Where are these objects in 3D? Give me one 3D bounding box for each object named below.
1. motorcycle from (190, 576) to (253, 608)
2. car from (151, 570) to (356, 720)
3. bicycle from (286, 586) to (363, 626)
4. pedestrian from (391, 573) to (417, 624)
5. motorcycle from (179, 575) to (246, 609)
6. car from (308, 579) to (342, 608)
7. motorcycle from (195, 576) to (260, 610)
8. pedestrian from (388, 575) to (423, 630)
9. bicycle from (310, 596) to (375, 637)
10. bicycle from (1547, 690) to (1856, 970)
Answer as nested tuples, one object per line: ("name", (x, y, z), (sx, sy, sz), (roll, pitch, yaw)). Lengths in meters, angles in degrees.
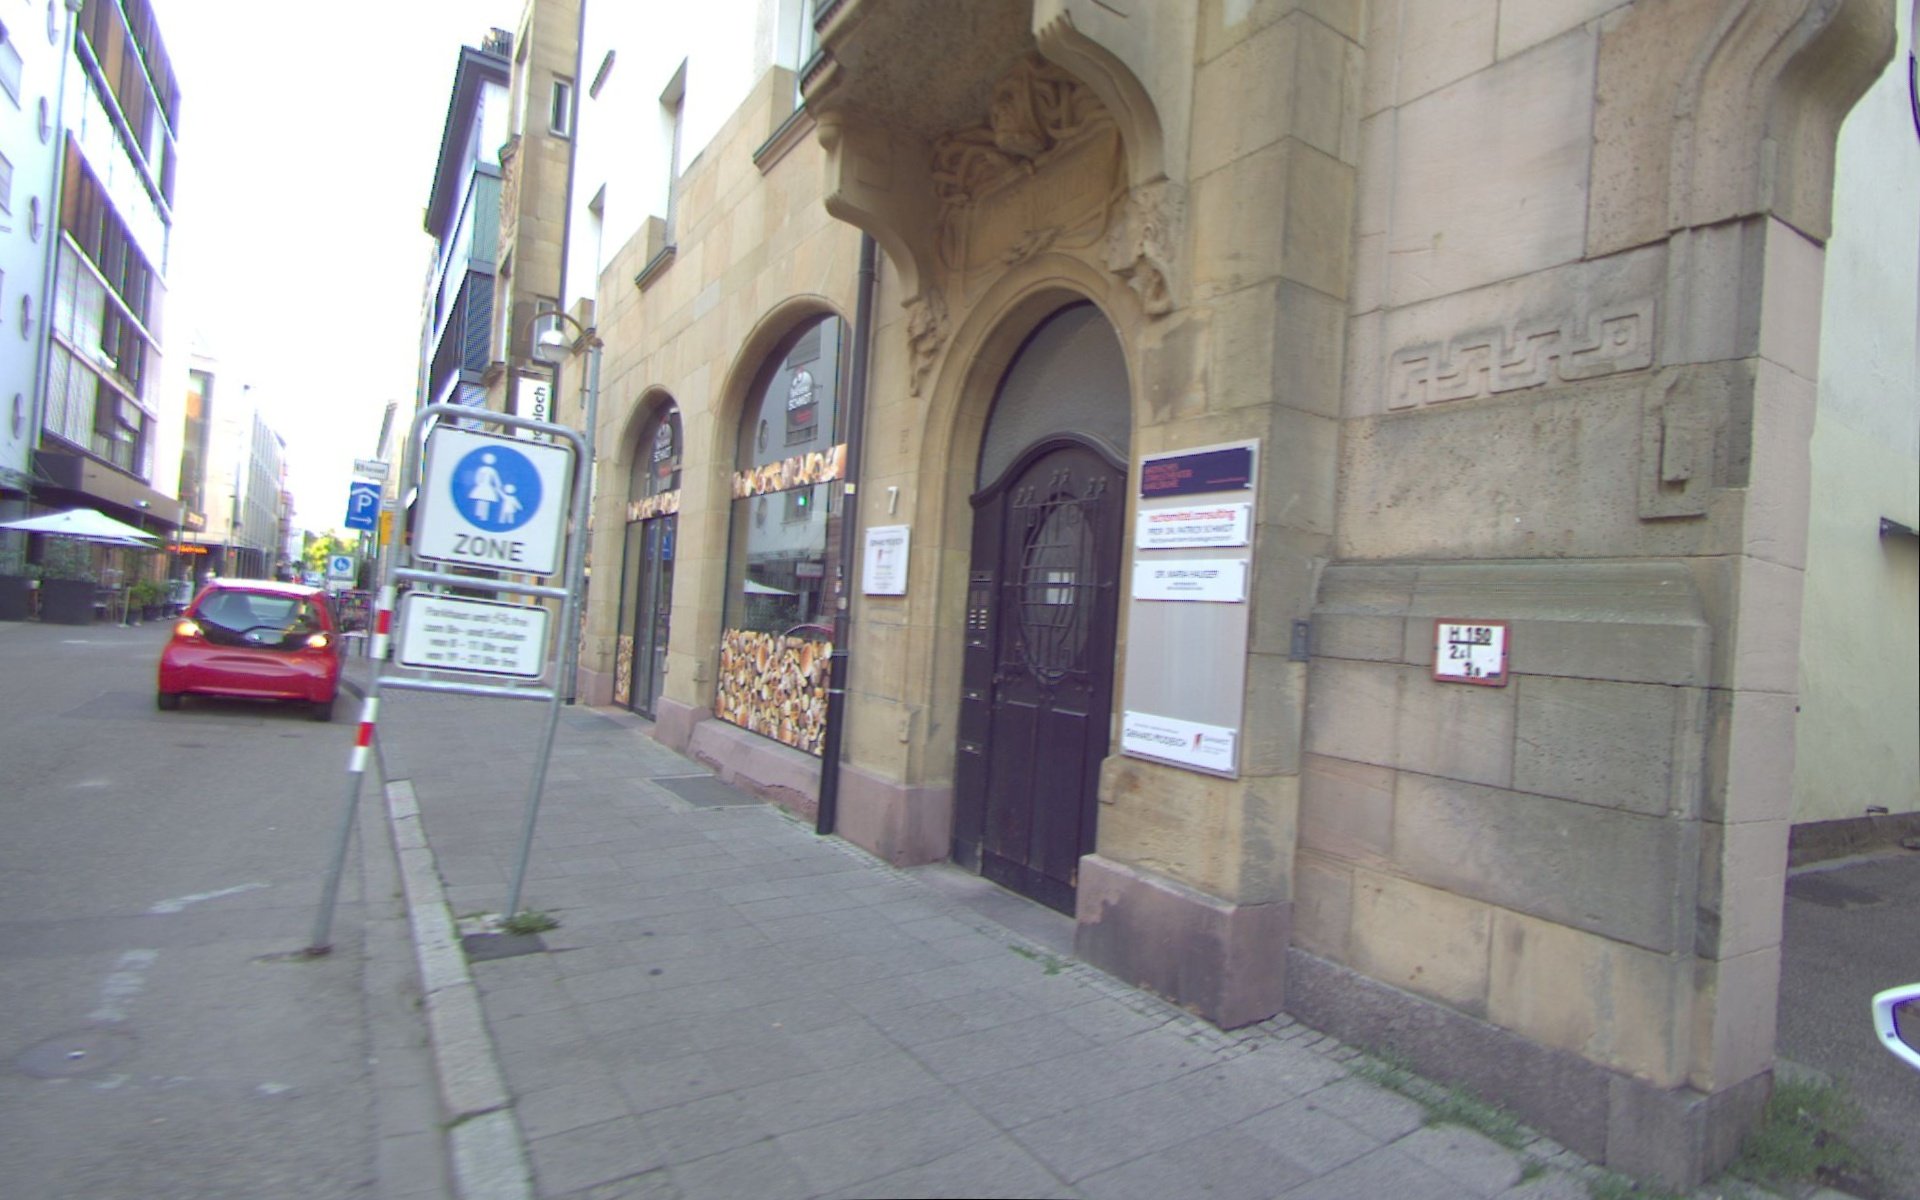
("motorcycle", (-33.832, -0.348, 46.031), (2.169, 1.299, 0.646), (5, -1, -30))
("car", (-8.306, 0.491, 12.071), (1.621, 1.459, 3.130), (7, -3, -31))
("bicycle", (-19.391, 0.200, 30.686), (1.932, 1.145, 0.615), (3, 0, -31))
("pedestrian", (-18.991, -0.046, 34.290), (0.663, 1.693, 0.757), (4, -1, -30))
("motorcycle", (-32.518, -0.325, 43.729), (2.169, 1.299, 0.646), (5, -1, -30))
("car", (-33.621, -0.348, 53.247), (1.411, 1.436, 3.861), (3, -1, -32))
("motorcycle", (-32.621, -0.305, 44.774), (2.169, 1.299, 0.646), (5, -1, -30))
("pedestrian", (-17.678, 0.081, 32.010), (0.804, 1.693, 0.922), (5, -1, -33))
("bicycle", (-18.345, 0.493, 29.895), (1.590, 1.133, 0.615), (3, 0, -31))
("bicycle", (3.615, 1.017, 4.848), (1.737, 1.093, 0.591), (4, -1, -33))
